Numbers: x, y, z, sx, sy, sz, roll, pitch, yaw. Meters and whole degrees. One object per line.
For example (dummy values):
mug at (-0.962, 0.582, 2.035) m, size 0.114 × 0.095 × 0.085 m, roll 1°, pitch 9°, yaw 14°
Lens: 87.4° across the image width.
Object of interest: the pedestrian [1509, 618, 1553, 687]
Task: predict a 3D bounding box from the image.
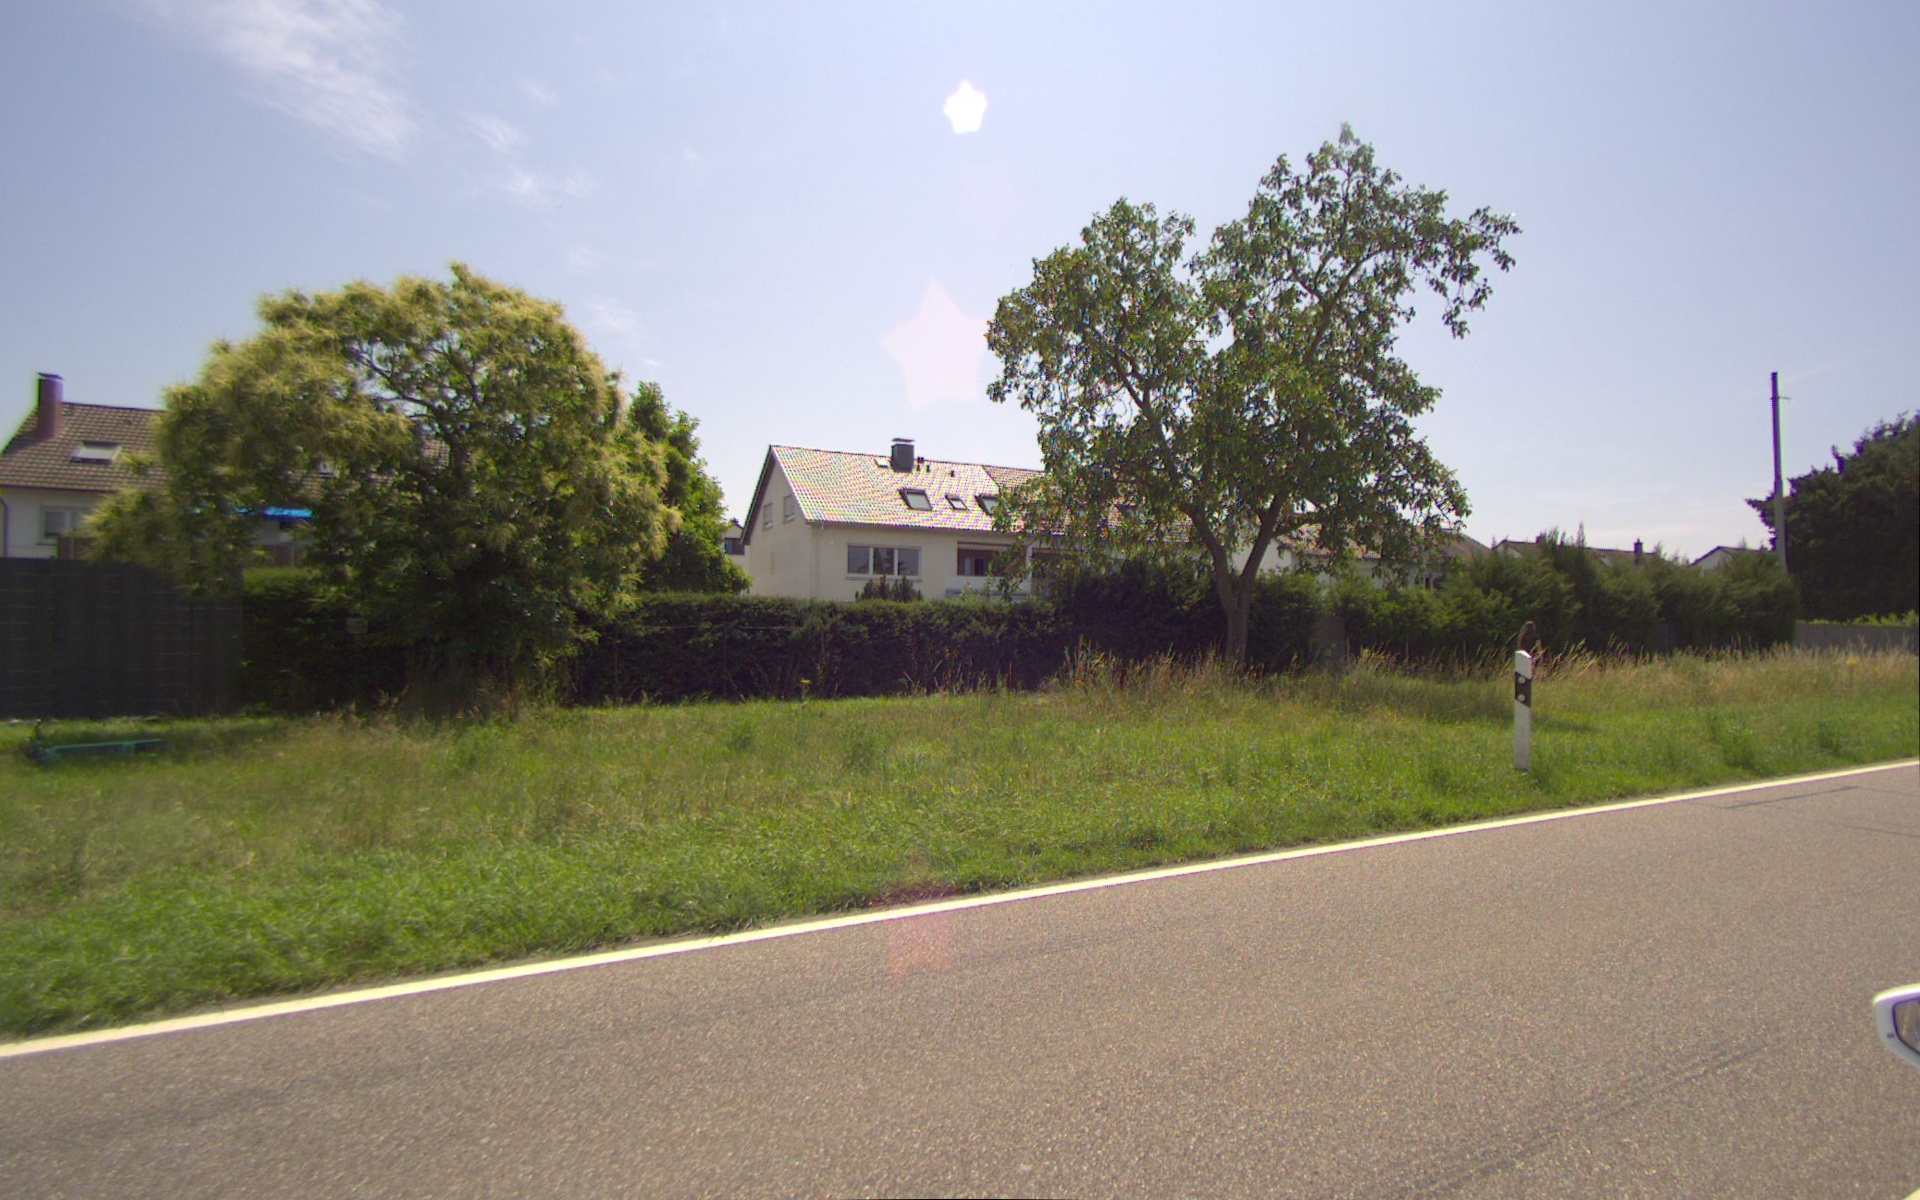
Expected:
pedestrian at (12.629, 1.152, 22.224) m, size 0.625 × 1.497 × 0.606 m, roll 1°, pitch 0°, yaw -28°
